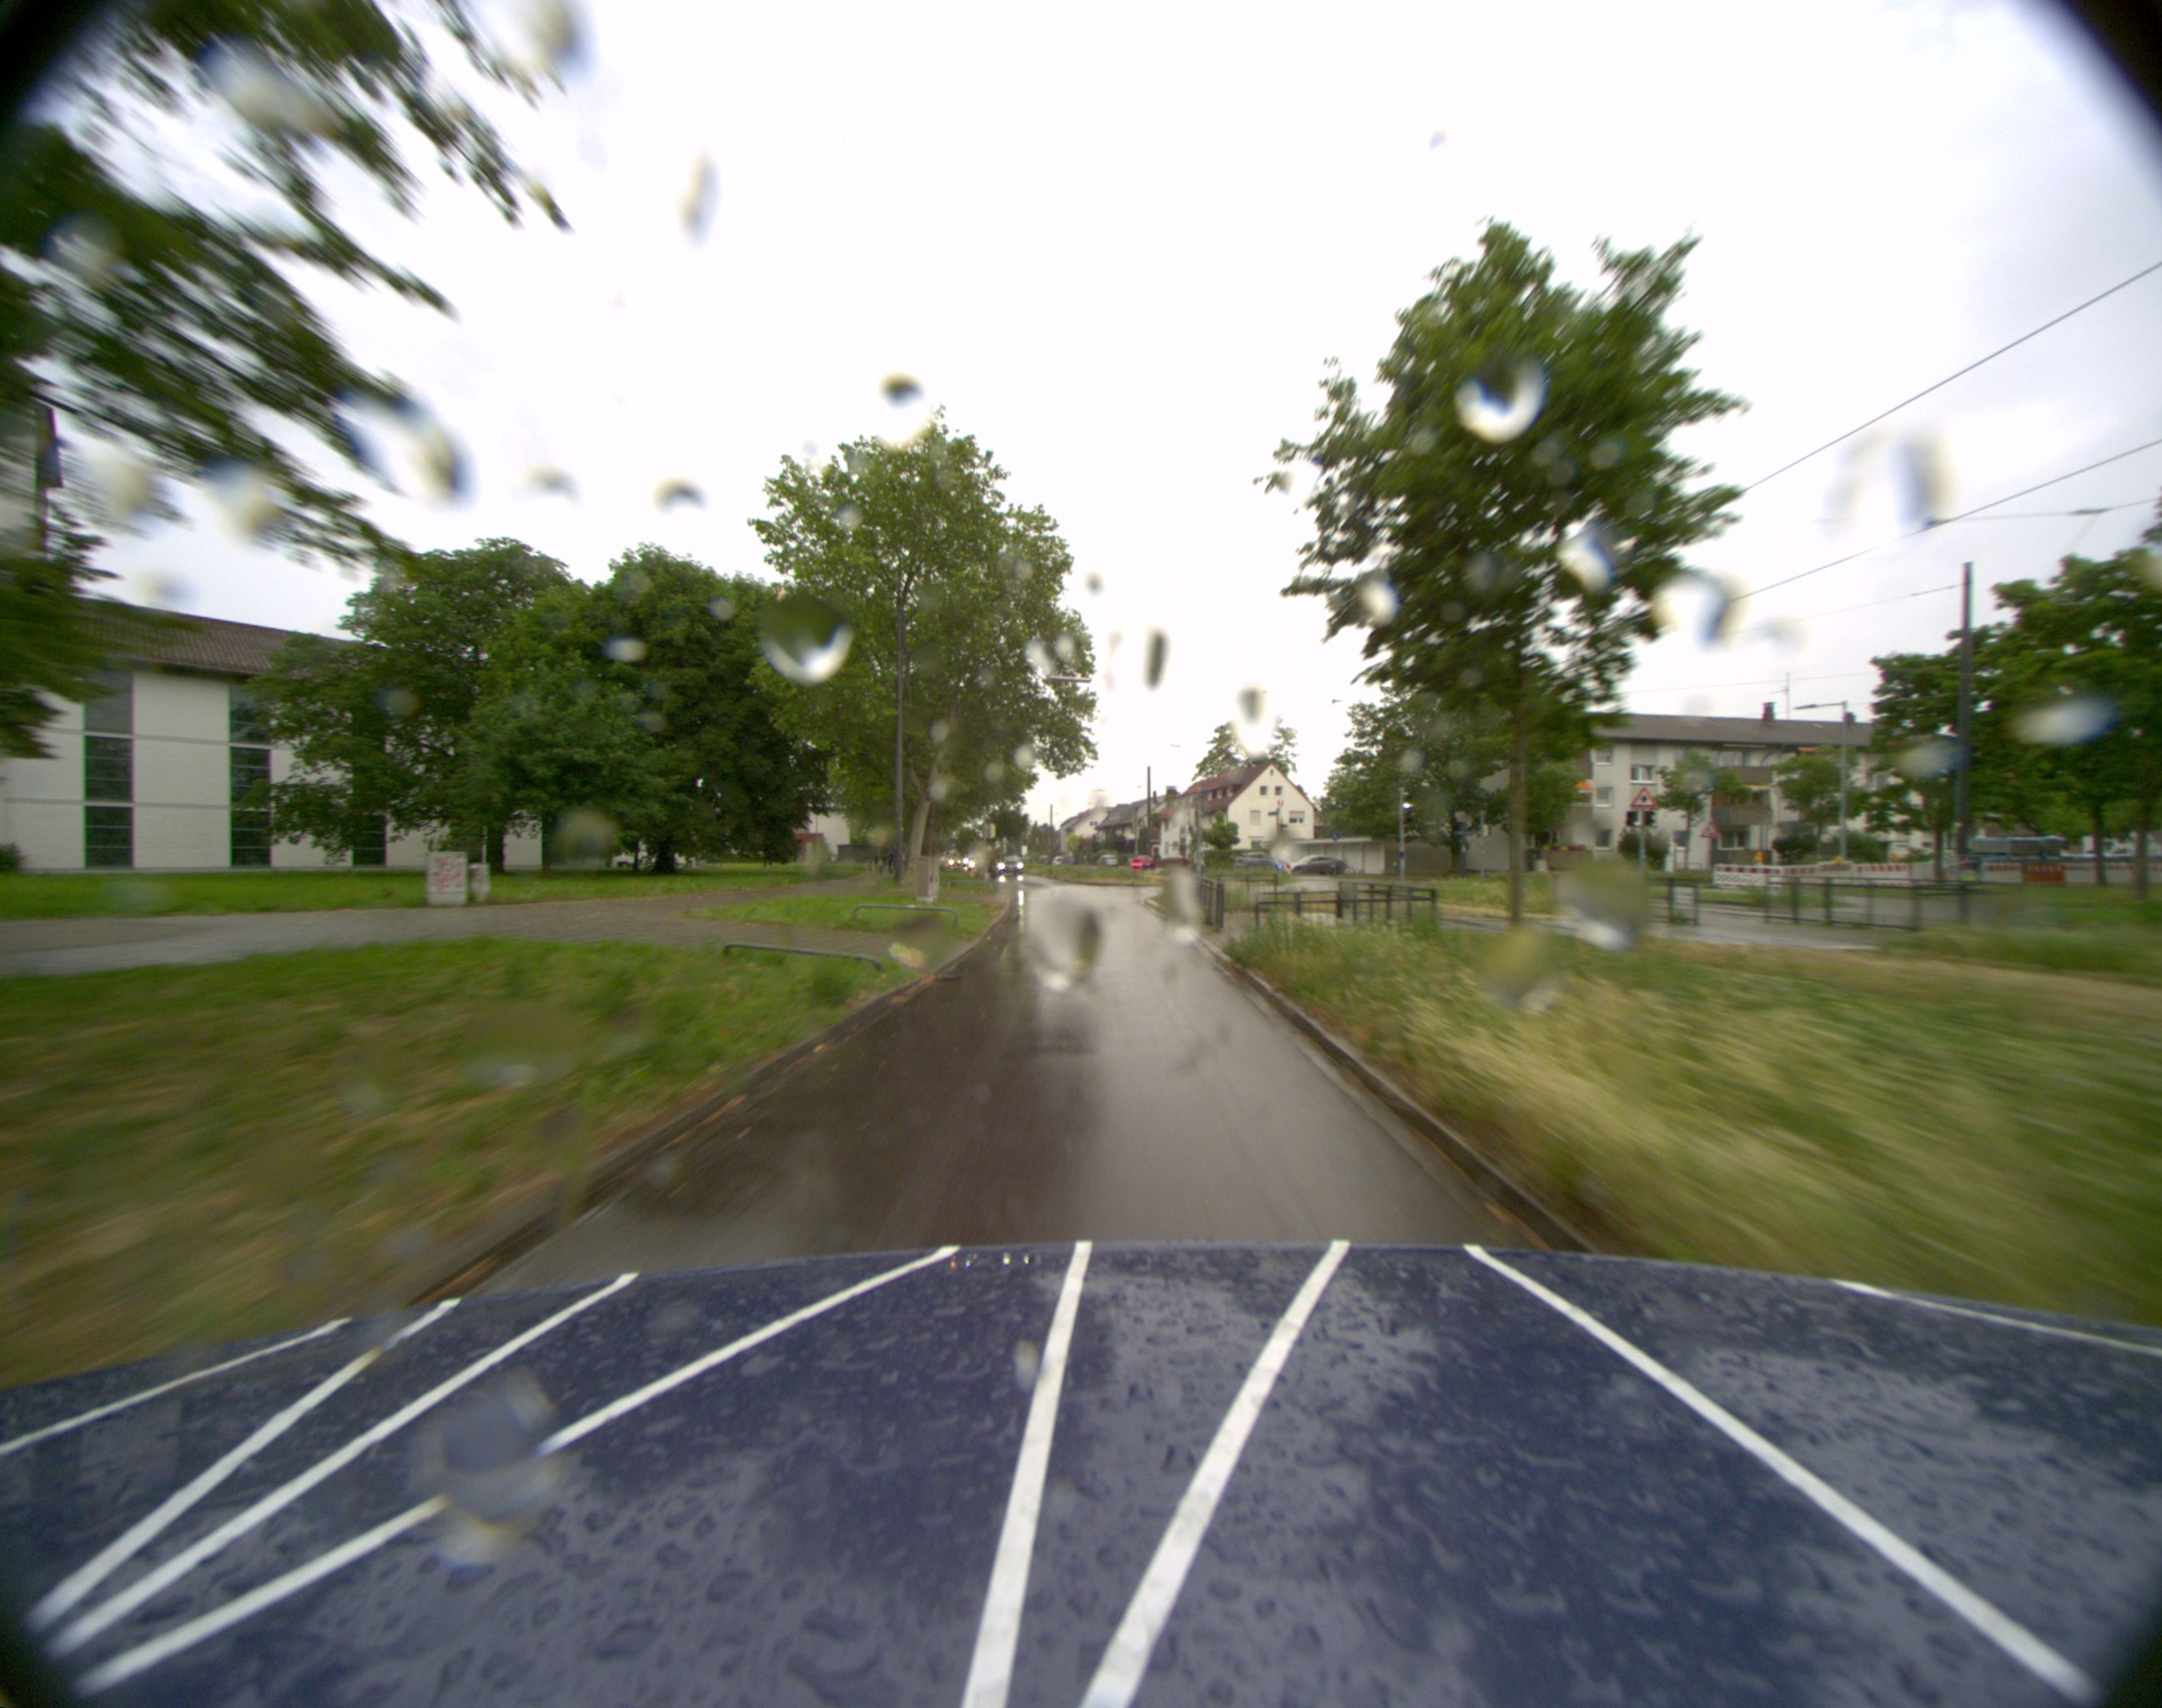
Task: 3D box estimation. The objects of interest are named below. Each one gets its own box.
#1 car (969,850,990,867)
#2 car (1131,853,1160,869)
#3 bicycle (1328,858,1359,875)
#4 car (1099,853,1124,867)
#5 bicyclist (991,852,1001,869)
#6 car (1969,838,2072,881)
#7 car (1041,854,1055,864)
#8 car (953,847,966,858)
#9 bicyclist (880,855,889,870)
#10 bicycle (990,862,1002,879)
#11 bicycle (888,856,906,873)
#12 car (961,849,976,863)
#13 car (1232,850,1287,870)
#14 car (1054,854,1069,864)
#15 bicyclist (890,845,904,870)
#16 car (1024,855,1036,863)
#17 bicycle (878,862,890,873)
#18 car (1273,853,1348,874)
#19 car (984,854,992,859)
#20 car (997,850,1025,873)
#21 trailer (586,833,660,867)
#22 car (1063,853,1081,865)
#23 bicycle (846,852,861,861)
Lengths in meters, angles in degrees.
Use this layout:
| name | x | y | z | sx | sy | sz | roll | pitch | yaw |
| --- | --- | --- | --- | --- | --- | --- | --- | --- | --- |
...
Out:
| name | x | y | z | sx | sy | sz | roll | pitch | yaw |
| --- | --- | --- | --- | --- | --- | --- | --- | --- | --- |
| car | -10.630 | 0.474 | 79.375 | 1.769 | 1.715 | 3.929 | -1 | 1 | -13 |
| car | 6.705 | 0.735 | 79.266 | 1.848 | 1.538 | 3.968 | -3 | 1 | -11 |
| bicycle | 16.615 | 0.783 | 48.155 | 0.483 | 1.013 | 1.837 | -4 | 2 | -36 |
| car | 3.655 | 0.708 | 92.288 | 2.000 | 1.604 | 4.679 | -2 | 0 | -11 |
| bicyclist | -5.306 | 0.392 | 47.371 | 0.622 | 1.078 | 0.624 | 0 | 1 | -9 |
| car | 54.487 | 0.322 | 44.093 | 4.472 | 2.432 | 1.915 | 0 | 0 | -12 |
| car | -5.811 | 0.845 | 133.525 | 1.760 | 1.604 | 4.106 | -3 | 1 | -12 |
| car | -19.119 | -0.254 | 119.628 | 1.769 | 1.715 | 3.929 | 0 | 1 | -14 |
| bicyclist | -13.565 | 0.607 | 52.372 | 0.488 | 1.032 | 0.591 | 0 | 1 | -1 |
| bicycle | -5.318 | 1.004 | 47.457 | 0.659 | 1.008 | 2.255 | 0 | 1 | -9 |
| bicycle | -12.707 | 0.705 | 52.485 | 0.713 | 1.136 | 1.972 | 0 | 1 | 1 |
| car | -15.078 | 0.248 | 101.778 | 1.769 | 1.715 | 3.930 | 0 | 1 | -11 |
| car | 14.545 | 0.495 | 62.027 | 4.001 | 1.567 | 1.890 | 0 | 0 | -13 |
| car | -3.194 | 0.779 | 122.465 | 1.719 | 1.520 | 3.597 | -3 | 1 | -13 |
| bicyclist | -12.708 | 0.240 | 52.452 | 0.713 | 1.711 | 0.957 | 0 | 1 | 1 |
| car | -10.053 | 0.966 | 150.563 | 1.760 | 1.507 | 3.850 | -3 | 1 | -12 |
| bicycle | -13.570 | 0.927 | 52.387 | 0.488 | 0.704 | 1.457 | 0 | 1 | -1 |
| car | 16.289 | 0.655 | 54.000 | 4.741 | 1.357 | 1.846 | -1 | 0 | -10 |
| car | -25.512 | 0.701 | 209.414 | 1.760 | 1.507 | 3.850 | -3 | 1 | -12 |
| car | -5.501 | 0.582 | 59.279 | 1.769 | 1.715 | 3.931 | -2 | 0 | -11 |
| trailer | -32.156 | -0.291 | 53.397 | 1.886 | 2.295 | 4.029 | 1 | 0 | 39 |
| car | -1.354 | 0.693 | 114.911 | 1.851 | 1.696 | 4.177 | -2 | 0 | -14 |
| bicycle | -29.145 | 0.369 | 97.336 | 0.520 | 1.115 | 1.942 | 2 | 1 | 31 |
